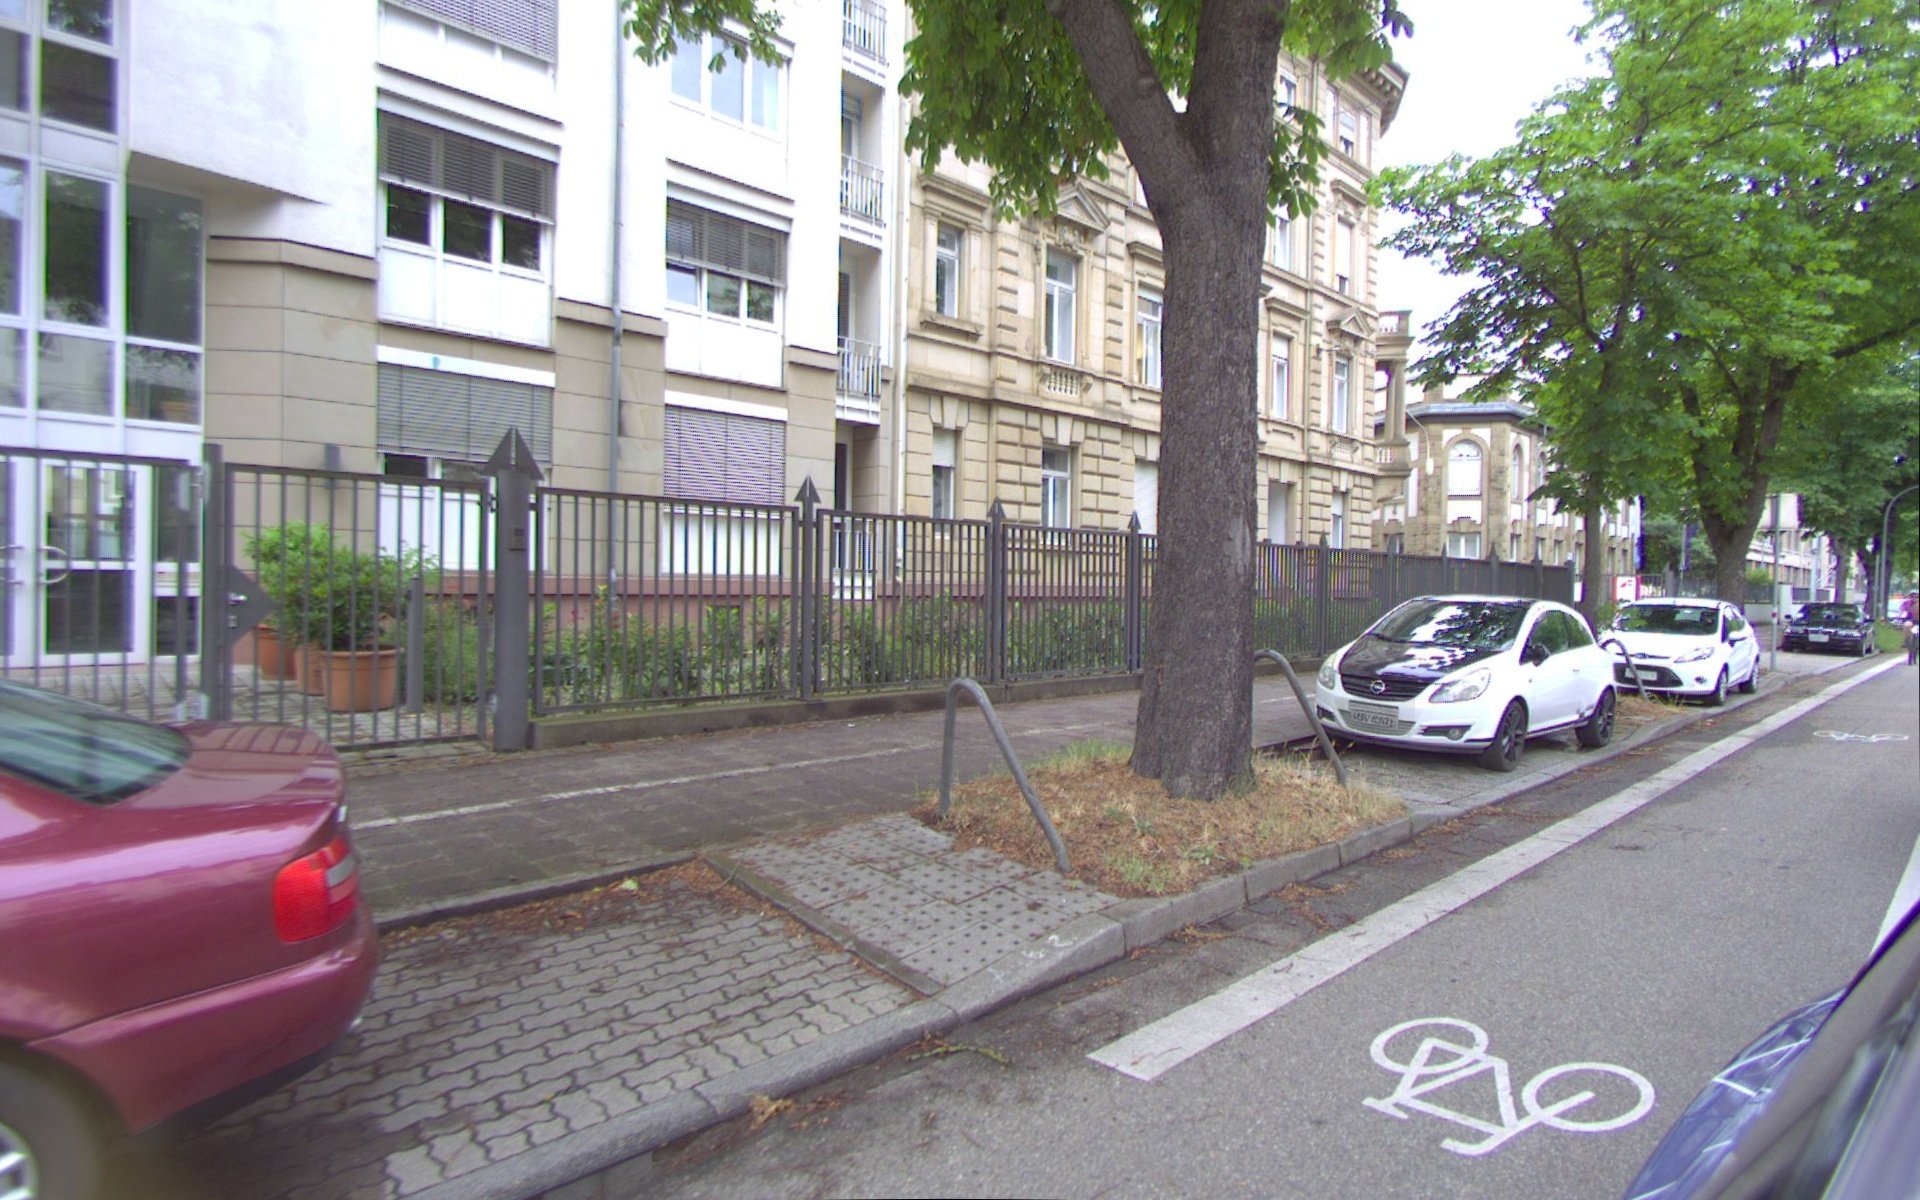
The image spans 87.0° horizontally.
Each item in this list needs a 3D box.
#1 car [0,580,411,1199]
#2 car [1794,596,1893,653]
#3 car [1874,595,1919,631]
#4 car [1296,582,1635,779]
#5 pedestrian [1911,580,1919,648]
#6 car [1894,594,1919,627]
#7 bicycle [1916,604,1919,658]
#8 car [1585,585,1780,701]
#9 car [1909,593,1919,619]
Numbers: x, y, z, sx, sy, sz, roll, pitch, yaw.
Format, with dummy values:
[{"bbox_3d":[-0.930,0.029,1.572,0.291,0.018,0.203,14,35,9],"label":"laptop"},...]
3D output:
[{"bbox_3d":[-3.428,0.698,1.683,4.156,1.416,1.605,0,3,-43],"label":"car"},{"bbox_3d":[24.261,0.620,27.761,3.772,1.387,1.605,0,3,-43],"label":"car"},{"bbox_3d":[40.211,0.514,43.032,3.772,1.387,1.605,0,3,-43],"label":"car"},{"bbox_3d":[4.933,0.610,9.661,3.712,1.453,1.605,0,3,-42],"label":"car"},{"bbox_3d":[22.577,0.328,23.462,0.692,1.569,0.683,0,1,-42],"label":"pedestrian"},{"bbox_3d":[45.538,0.506,47.902,3.772,1.442,1.605,0,3,-43],"label":"car"},{"bbox_3d":[22.590,0.714,23.522,1.678,1.219,0.413,0,1,-43],"label":"bicycle"},{"bbox_3d":[10.968,0.556,15.276,3.701,1.453,1.630,0,3,-43],"label":"car"},{"bbox_3d":[54.260,0.343,56.476,3.772,1.387,1.605,0,3,-43],"label":"car"}]
